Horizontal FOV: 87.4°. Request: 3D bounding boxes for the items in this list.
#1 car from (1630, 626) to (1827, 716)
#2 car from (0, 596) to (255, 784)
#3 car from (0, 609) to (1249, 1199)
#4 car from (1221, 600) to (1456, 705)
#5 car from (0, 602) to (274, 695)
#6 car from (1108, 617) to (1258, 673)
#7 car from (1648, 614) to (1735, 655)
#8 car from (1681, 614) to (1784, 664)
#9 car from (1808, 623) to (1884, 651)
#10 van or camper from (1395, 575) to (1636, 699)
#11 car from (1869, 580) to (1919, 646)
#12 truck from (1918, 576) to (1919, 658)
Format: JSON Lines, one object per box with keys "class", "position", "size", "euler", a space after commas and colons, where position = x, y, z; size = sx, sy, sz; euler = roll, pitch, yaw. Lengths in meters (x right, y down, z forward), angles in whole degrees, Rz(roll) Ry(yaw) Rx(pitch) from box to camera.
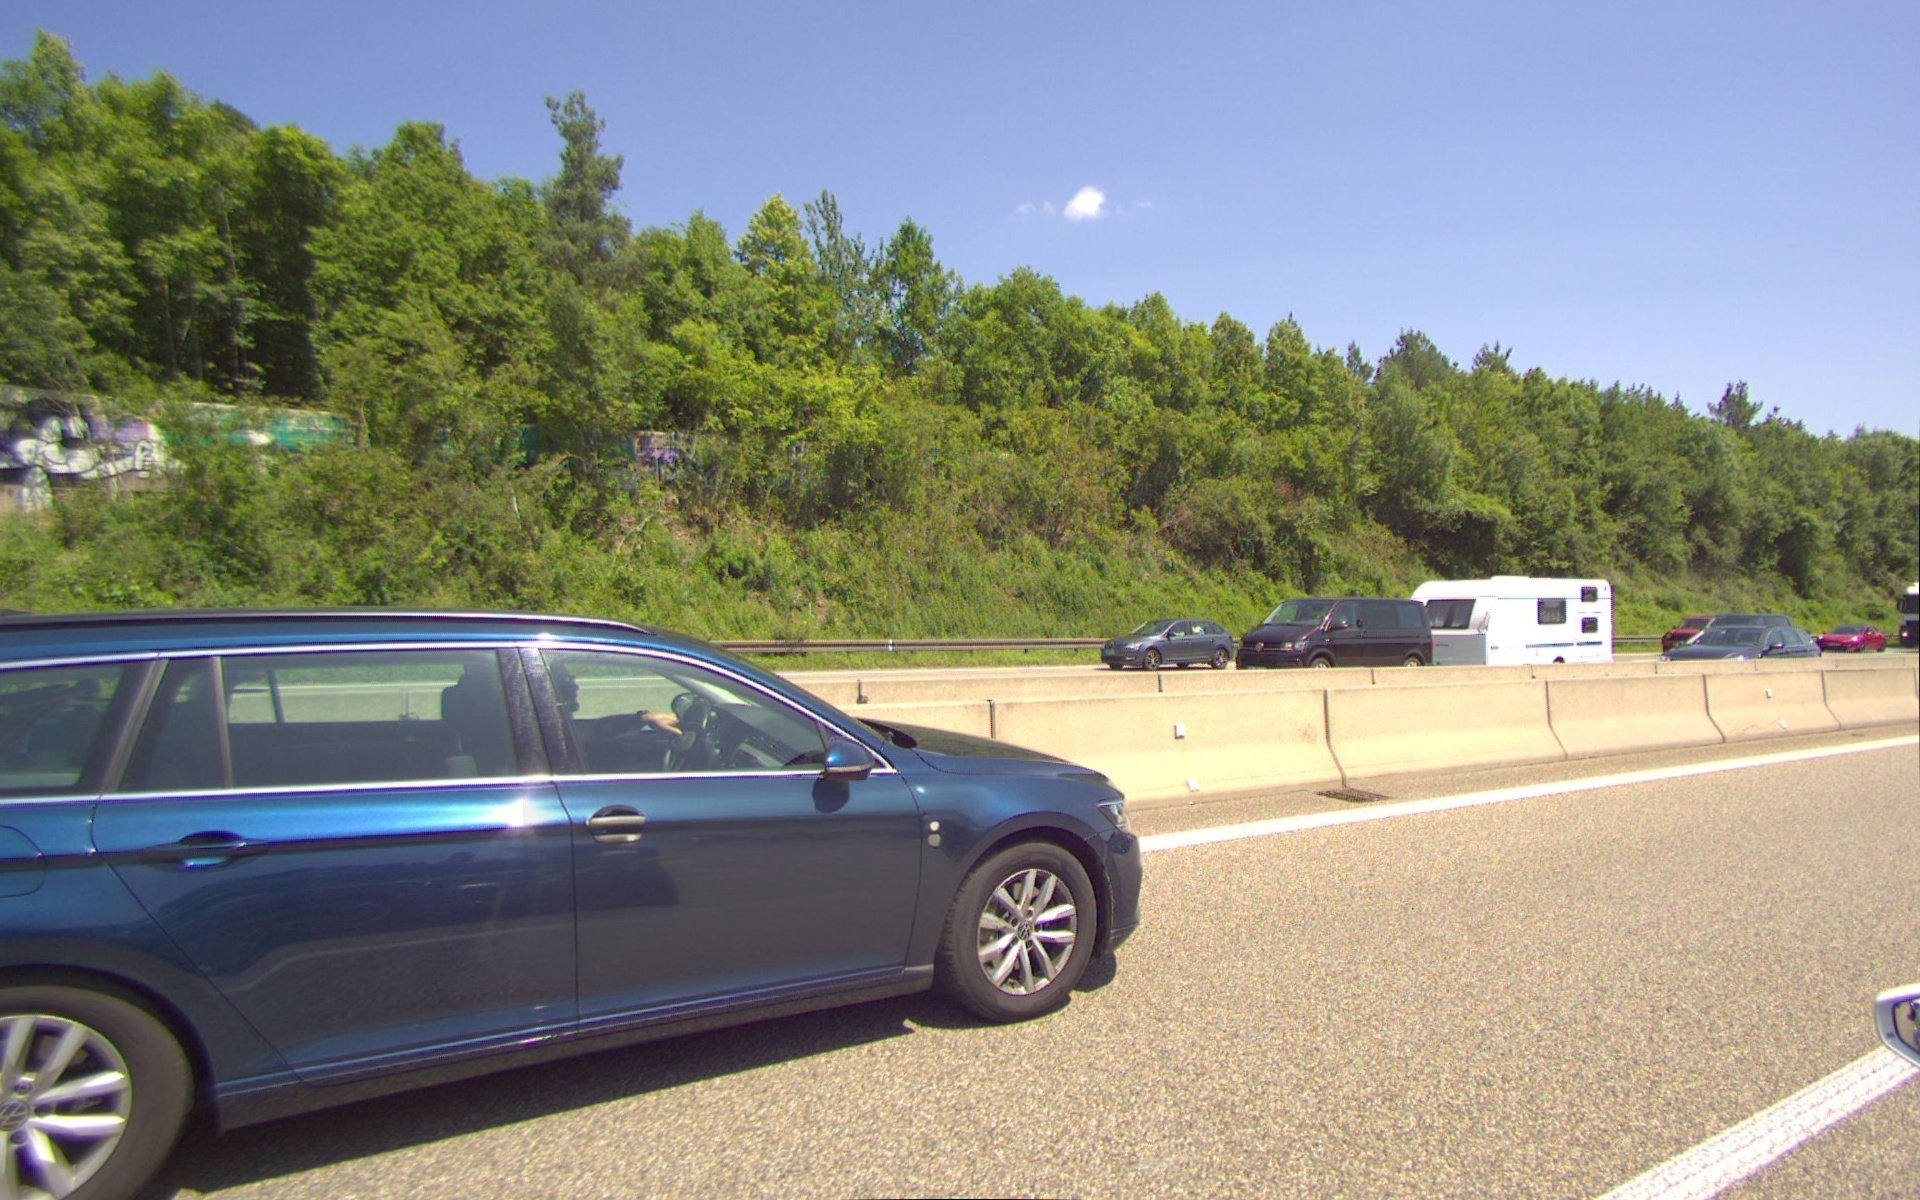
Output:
{"class": "car", "position": [17.292, 1.552, 22.552], "size": [4.639, 1.825, 1.938], "euler": [2, -2, -31]}
{"class": "car", "position": [-8.126, 0.650, 7.755], "size": [4.221, 1.394, 1.606], "euler": [1, -1, -31]}
{"class": "car", "position": [-1.283, 0.792, 3.595], "size": [4.674, 1.446, 1.724], "euler": [2, -1, -30]}
{"class": "car", "position": [8.240, 1.122, 21.713], "size": [5.133, 2.040, 1.984], "euler": [2, -2, -31]}
{"class": "car", "position": [-14.597, 0.813, 17.081], "size": [4.639, 1.454, 1.938], "euler": [2, -2, -31]}
{"class": "car", "position": [6.406, 1.271, 28.746], "size": [4.244, 1.504, 1.590], "euler": [2, -1, -30]}
{"class": "car", "position": [32.923, 1.558, 45.168], "size": [4.328, 1.774, 1.667], "euler": [2, -2, -32]}
{"class": "car", "position": [30.457, 1.515, 39.581], "size": [4.812, 1.834, 1.724], "euler": [2, -1, -33]}
{"class": "car", "position": [46.945, 1.983, 53.193], "size": [4.449, 1.388, 1.754], "euler": [2, -1, -31]}
{"class": "van or camper", "position": [14.131, 0.908, 25.383], "size": [6.757, 2.797, 2.220], "euler": [1, -1, -31]}
{"class": "car", "position": [58.282, 0.824, 61.733], "size": [4.513, 3.925, 2.437], "euler": [2, -1, -31]}
{"class": "truck", "position": [53.273, 0.955, 52.777], "size": [5.594, 4.270, 2.827], "euler": [1, 0, -31]}
